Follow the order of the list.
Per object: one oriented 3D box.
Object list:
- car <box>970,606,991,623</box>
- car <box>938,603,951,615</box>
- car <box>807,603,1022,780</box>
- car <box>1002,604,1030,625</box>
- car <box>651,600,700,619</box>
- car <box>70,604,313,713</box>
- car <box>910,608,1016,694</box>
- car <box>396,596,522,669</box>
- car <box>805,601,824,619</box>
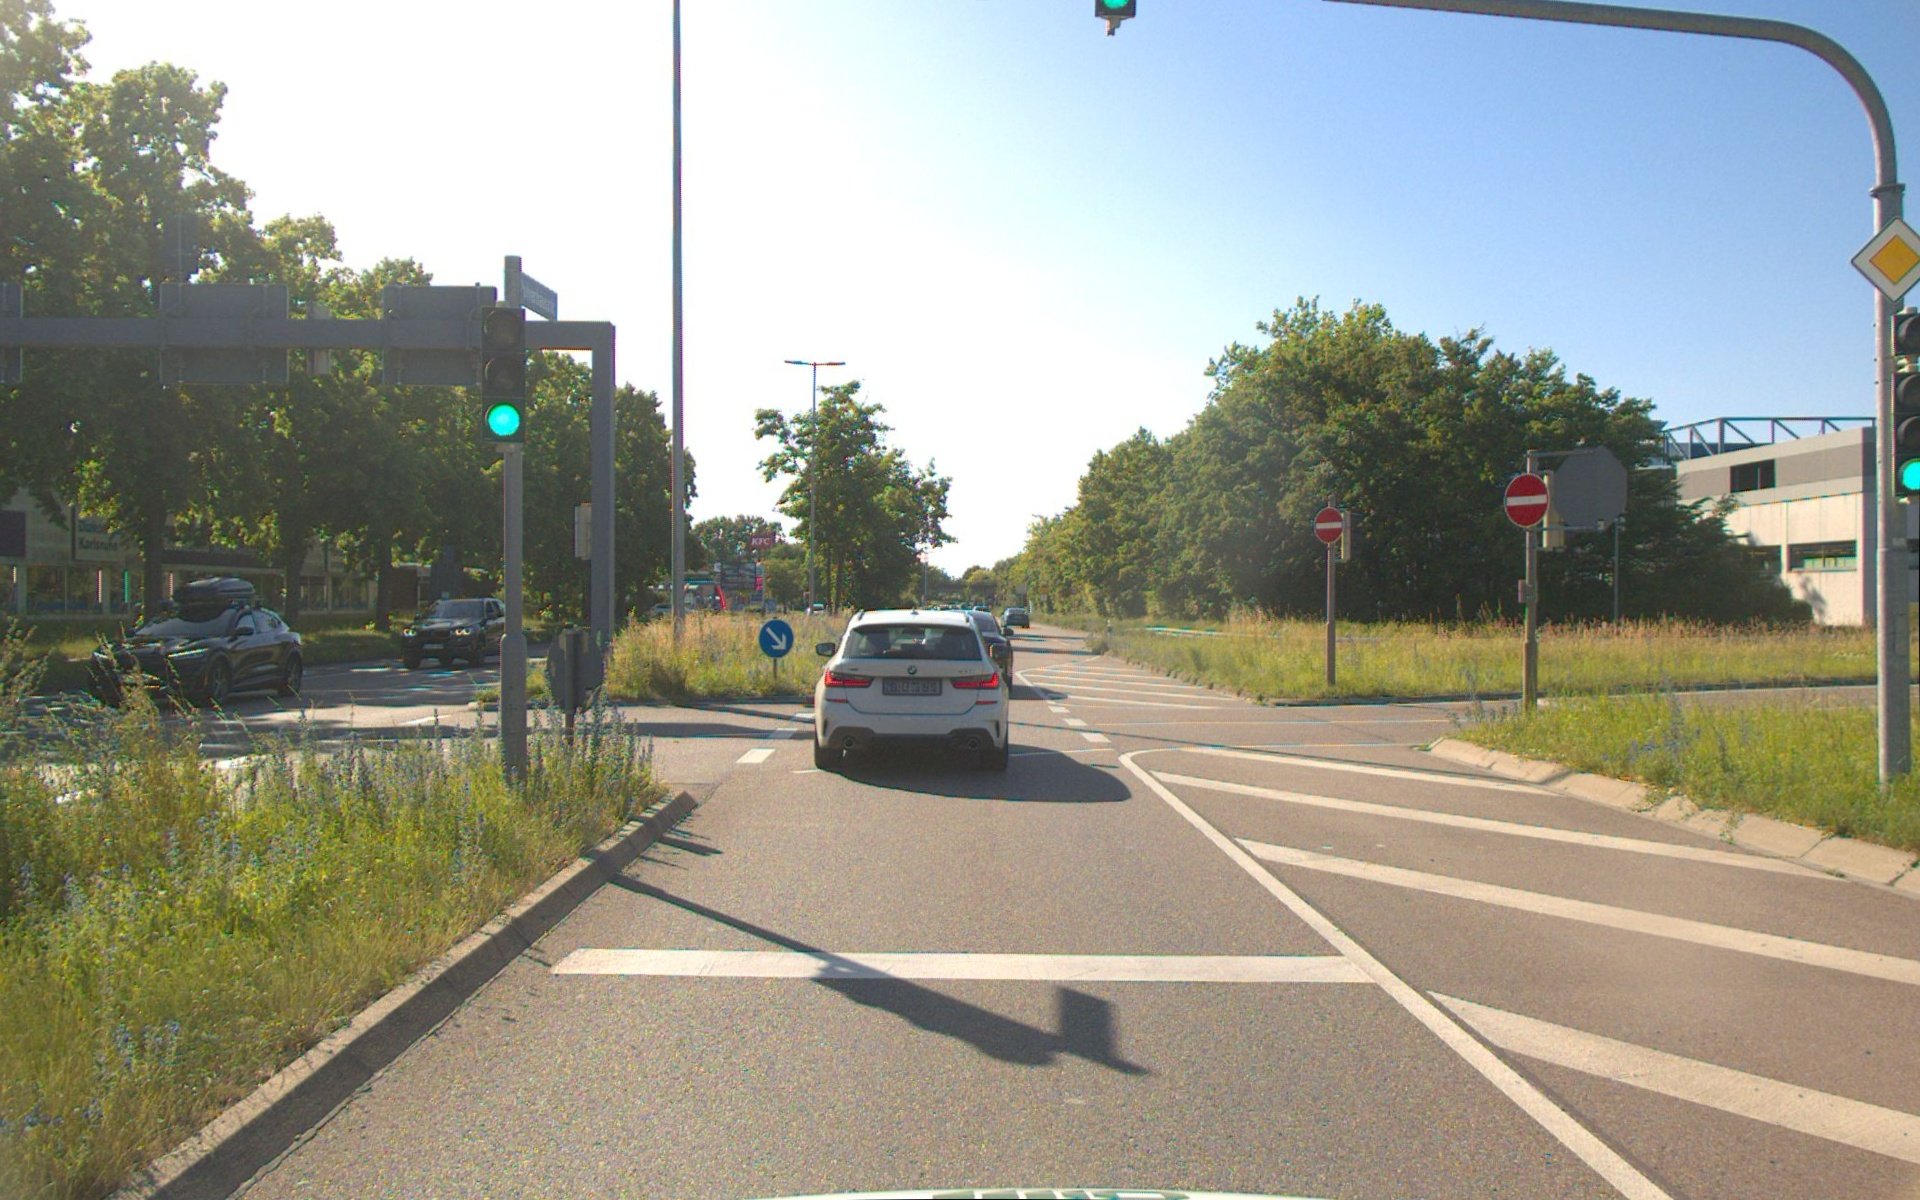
[{"bbox_3d":[1.883,1.311,153.126,1.736,1.583,3.831,0,0,-2],"label":"car"},{"bbox_3d":[-2.190,1.281,229.408,1.824,1.592,4.546,0,0,-1],"label":"car"},{"bbox_3d":[-0.409,0.792,16.561,1.824,1.480,4.547,1,0,-1],"label":"car"},{"bbox_3d":[4.096,1.047,121.110,1.824,1.525,4.335,0,0,-1],"label":"car"},{"bbox_3d":[-25.603,0.874,148.665,4.025,1.691,1.893,0,0,1],"label":"car"},{"bbox_3d":[-12.364,0.878,26.965,1.838,1.570,4.571,-2,0,-1],"label":"car"},{"bbox_3d":[0.014,0.890,30.882,1.824,1.480,4.546,0,0,-1],"label":"car"},{"bbox_3d":[-12.911,0.782,42.937,1.903,1.726,4.629,-2,0,-1],"label":"car"},{"bbox_3d":[-14.888,1.016,169.505,1.672,1.777,4.164,0,0,-2],"label":"car"}]
